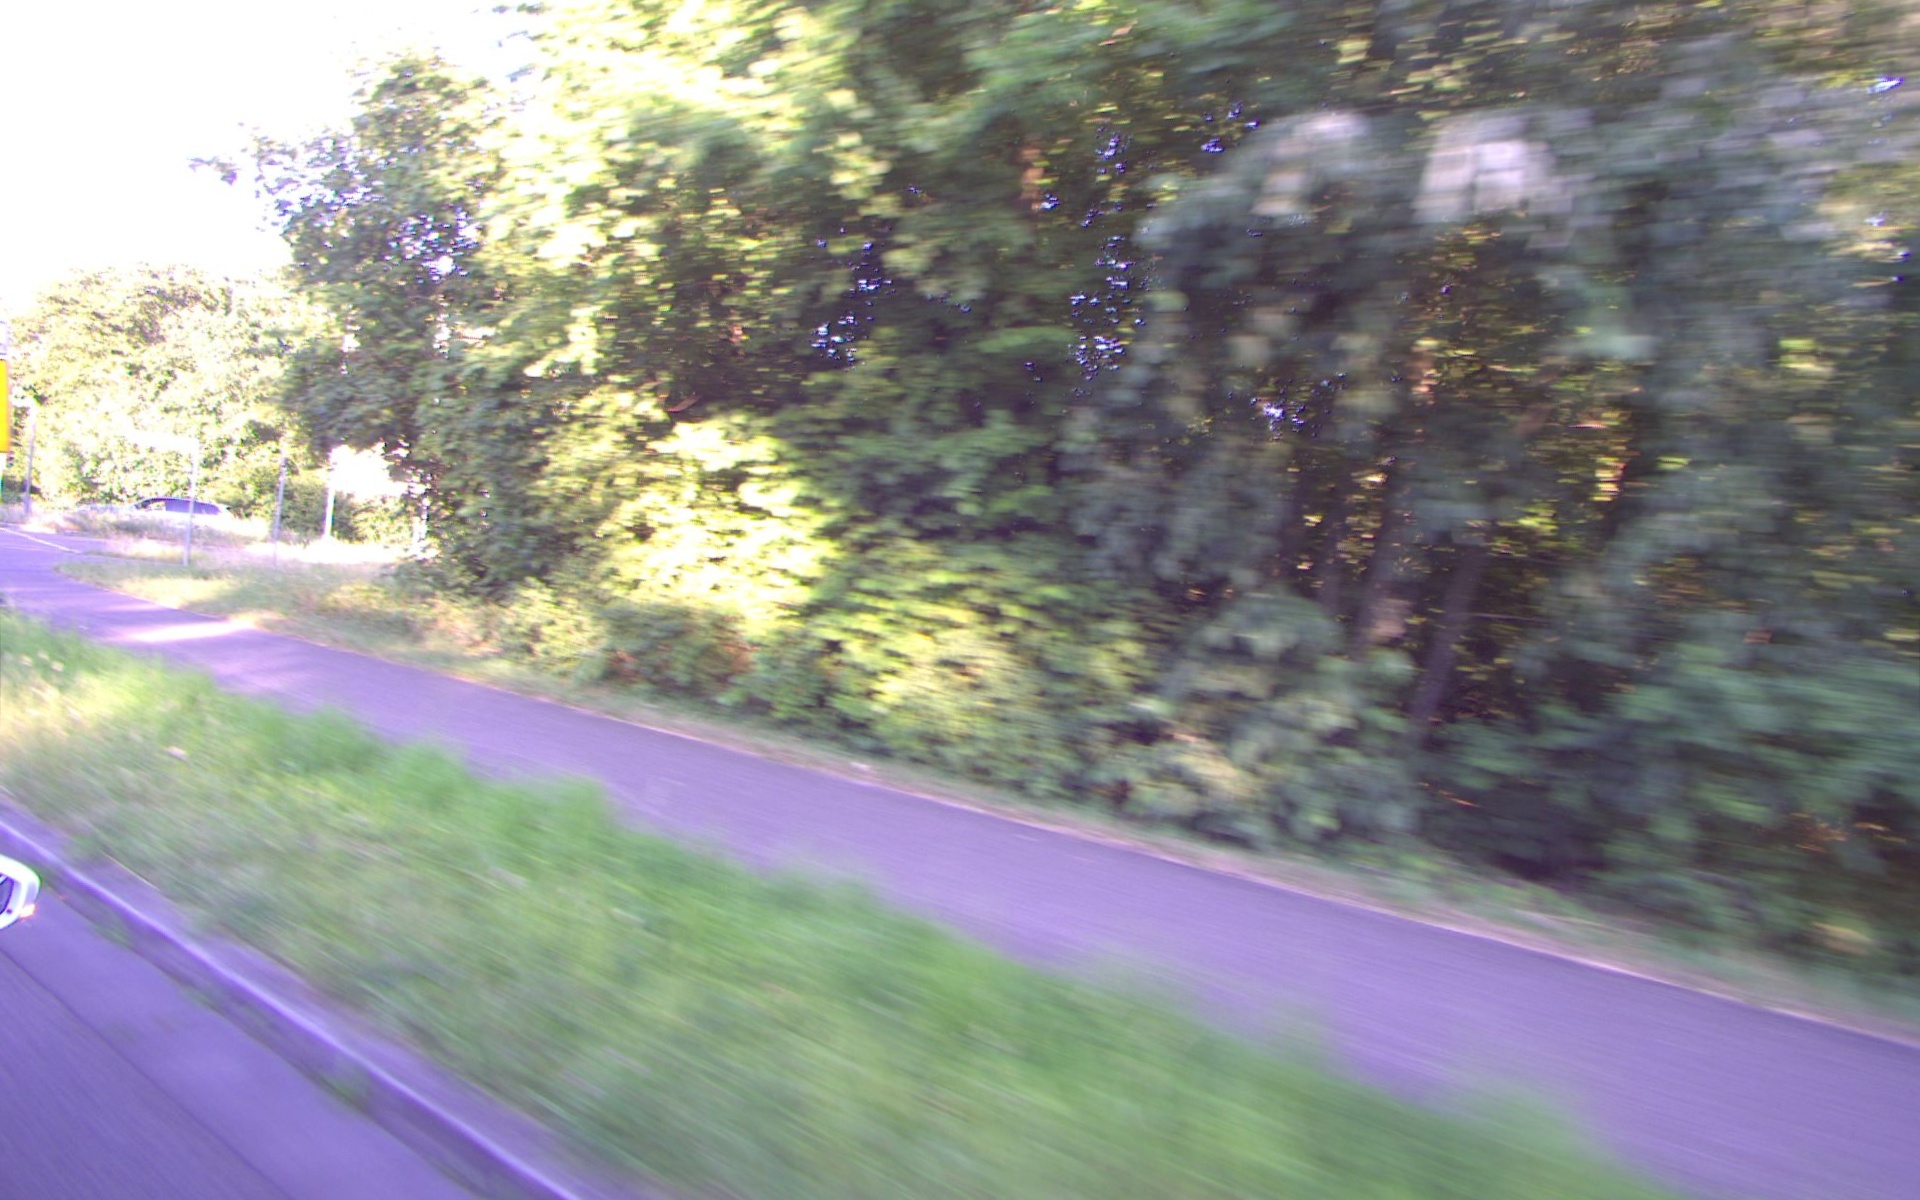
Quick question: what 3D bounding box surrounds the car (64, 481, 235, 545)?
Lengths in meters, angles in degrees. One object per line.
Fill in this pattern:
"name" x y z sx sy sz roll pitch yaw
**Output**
"car" -30.411 -3.243 37.984 4.787 1.618 1.981 7 0 -35
